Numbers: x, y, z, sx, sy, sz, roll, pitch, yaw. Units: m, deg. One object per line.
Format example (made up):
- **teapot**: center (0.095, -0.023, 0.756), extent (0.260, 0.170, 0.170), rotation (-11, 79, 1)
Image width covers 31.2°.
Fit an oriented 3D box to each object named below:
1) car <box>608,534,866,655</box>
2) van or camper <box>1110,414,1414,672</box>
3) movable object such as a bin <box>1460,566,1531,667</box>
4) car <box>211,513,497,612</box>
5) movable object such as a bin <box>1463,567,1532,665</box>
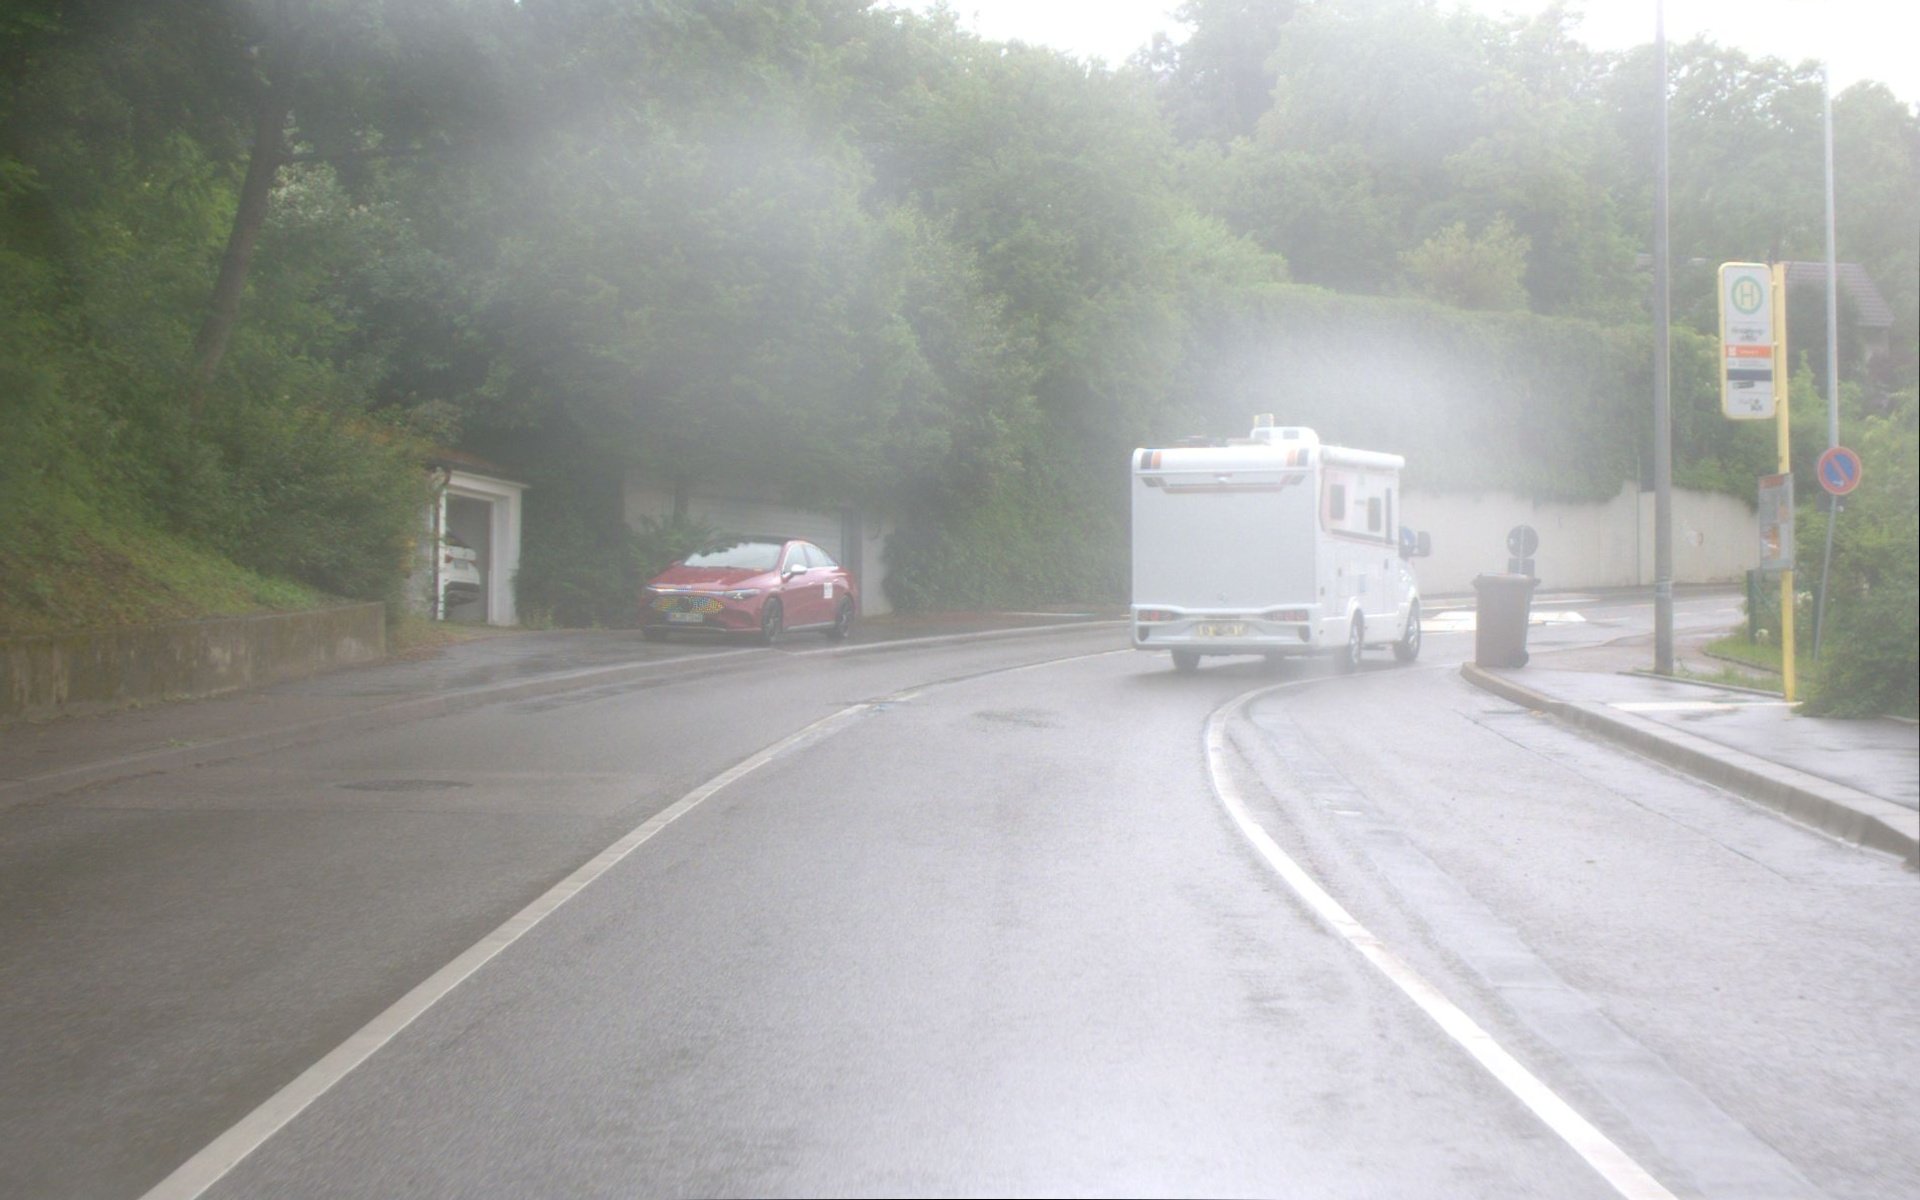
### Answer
- **car**: center (-3.021, -0.119, 47.724), extent (1.995, 1.556, 4.649), rotation (2, 2, 18)
- **van or camper**: center (3.802, -0.718, 42.039), extent (2.542, 2.915, 5.943), rotation (1, 1, 17)
- **movable object such as a bin**: center (6.104, 0.179, 39.201), extent (0.778, 1.129, 0.738), rotation (1, 1, 8)
- **car**: center (-9.454, -0.596, 53.705), extent (3.990, 1.498, 1.877), rotation (0, 1, 17)
- **movable object such as a bin**: center (6.333, 0.182, 40.521), extent (0.778, 1.129, 0.738), rotation (1, 1, 8)
